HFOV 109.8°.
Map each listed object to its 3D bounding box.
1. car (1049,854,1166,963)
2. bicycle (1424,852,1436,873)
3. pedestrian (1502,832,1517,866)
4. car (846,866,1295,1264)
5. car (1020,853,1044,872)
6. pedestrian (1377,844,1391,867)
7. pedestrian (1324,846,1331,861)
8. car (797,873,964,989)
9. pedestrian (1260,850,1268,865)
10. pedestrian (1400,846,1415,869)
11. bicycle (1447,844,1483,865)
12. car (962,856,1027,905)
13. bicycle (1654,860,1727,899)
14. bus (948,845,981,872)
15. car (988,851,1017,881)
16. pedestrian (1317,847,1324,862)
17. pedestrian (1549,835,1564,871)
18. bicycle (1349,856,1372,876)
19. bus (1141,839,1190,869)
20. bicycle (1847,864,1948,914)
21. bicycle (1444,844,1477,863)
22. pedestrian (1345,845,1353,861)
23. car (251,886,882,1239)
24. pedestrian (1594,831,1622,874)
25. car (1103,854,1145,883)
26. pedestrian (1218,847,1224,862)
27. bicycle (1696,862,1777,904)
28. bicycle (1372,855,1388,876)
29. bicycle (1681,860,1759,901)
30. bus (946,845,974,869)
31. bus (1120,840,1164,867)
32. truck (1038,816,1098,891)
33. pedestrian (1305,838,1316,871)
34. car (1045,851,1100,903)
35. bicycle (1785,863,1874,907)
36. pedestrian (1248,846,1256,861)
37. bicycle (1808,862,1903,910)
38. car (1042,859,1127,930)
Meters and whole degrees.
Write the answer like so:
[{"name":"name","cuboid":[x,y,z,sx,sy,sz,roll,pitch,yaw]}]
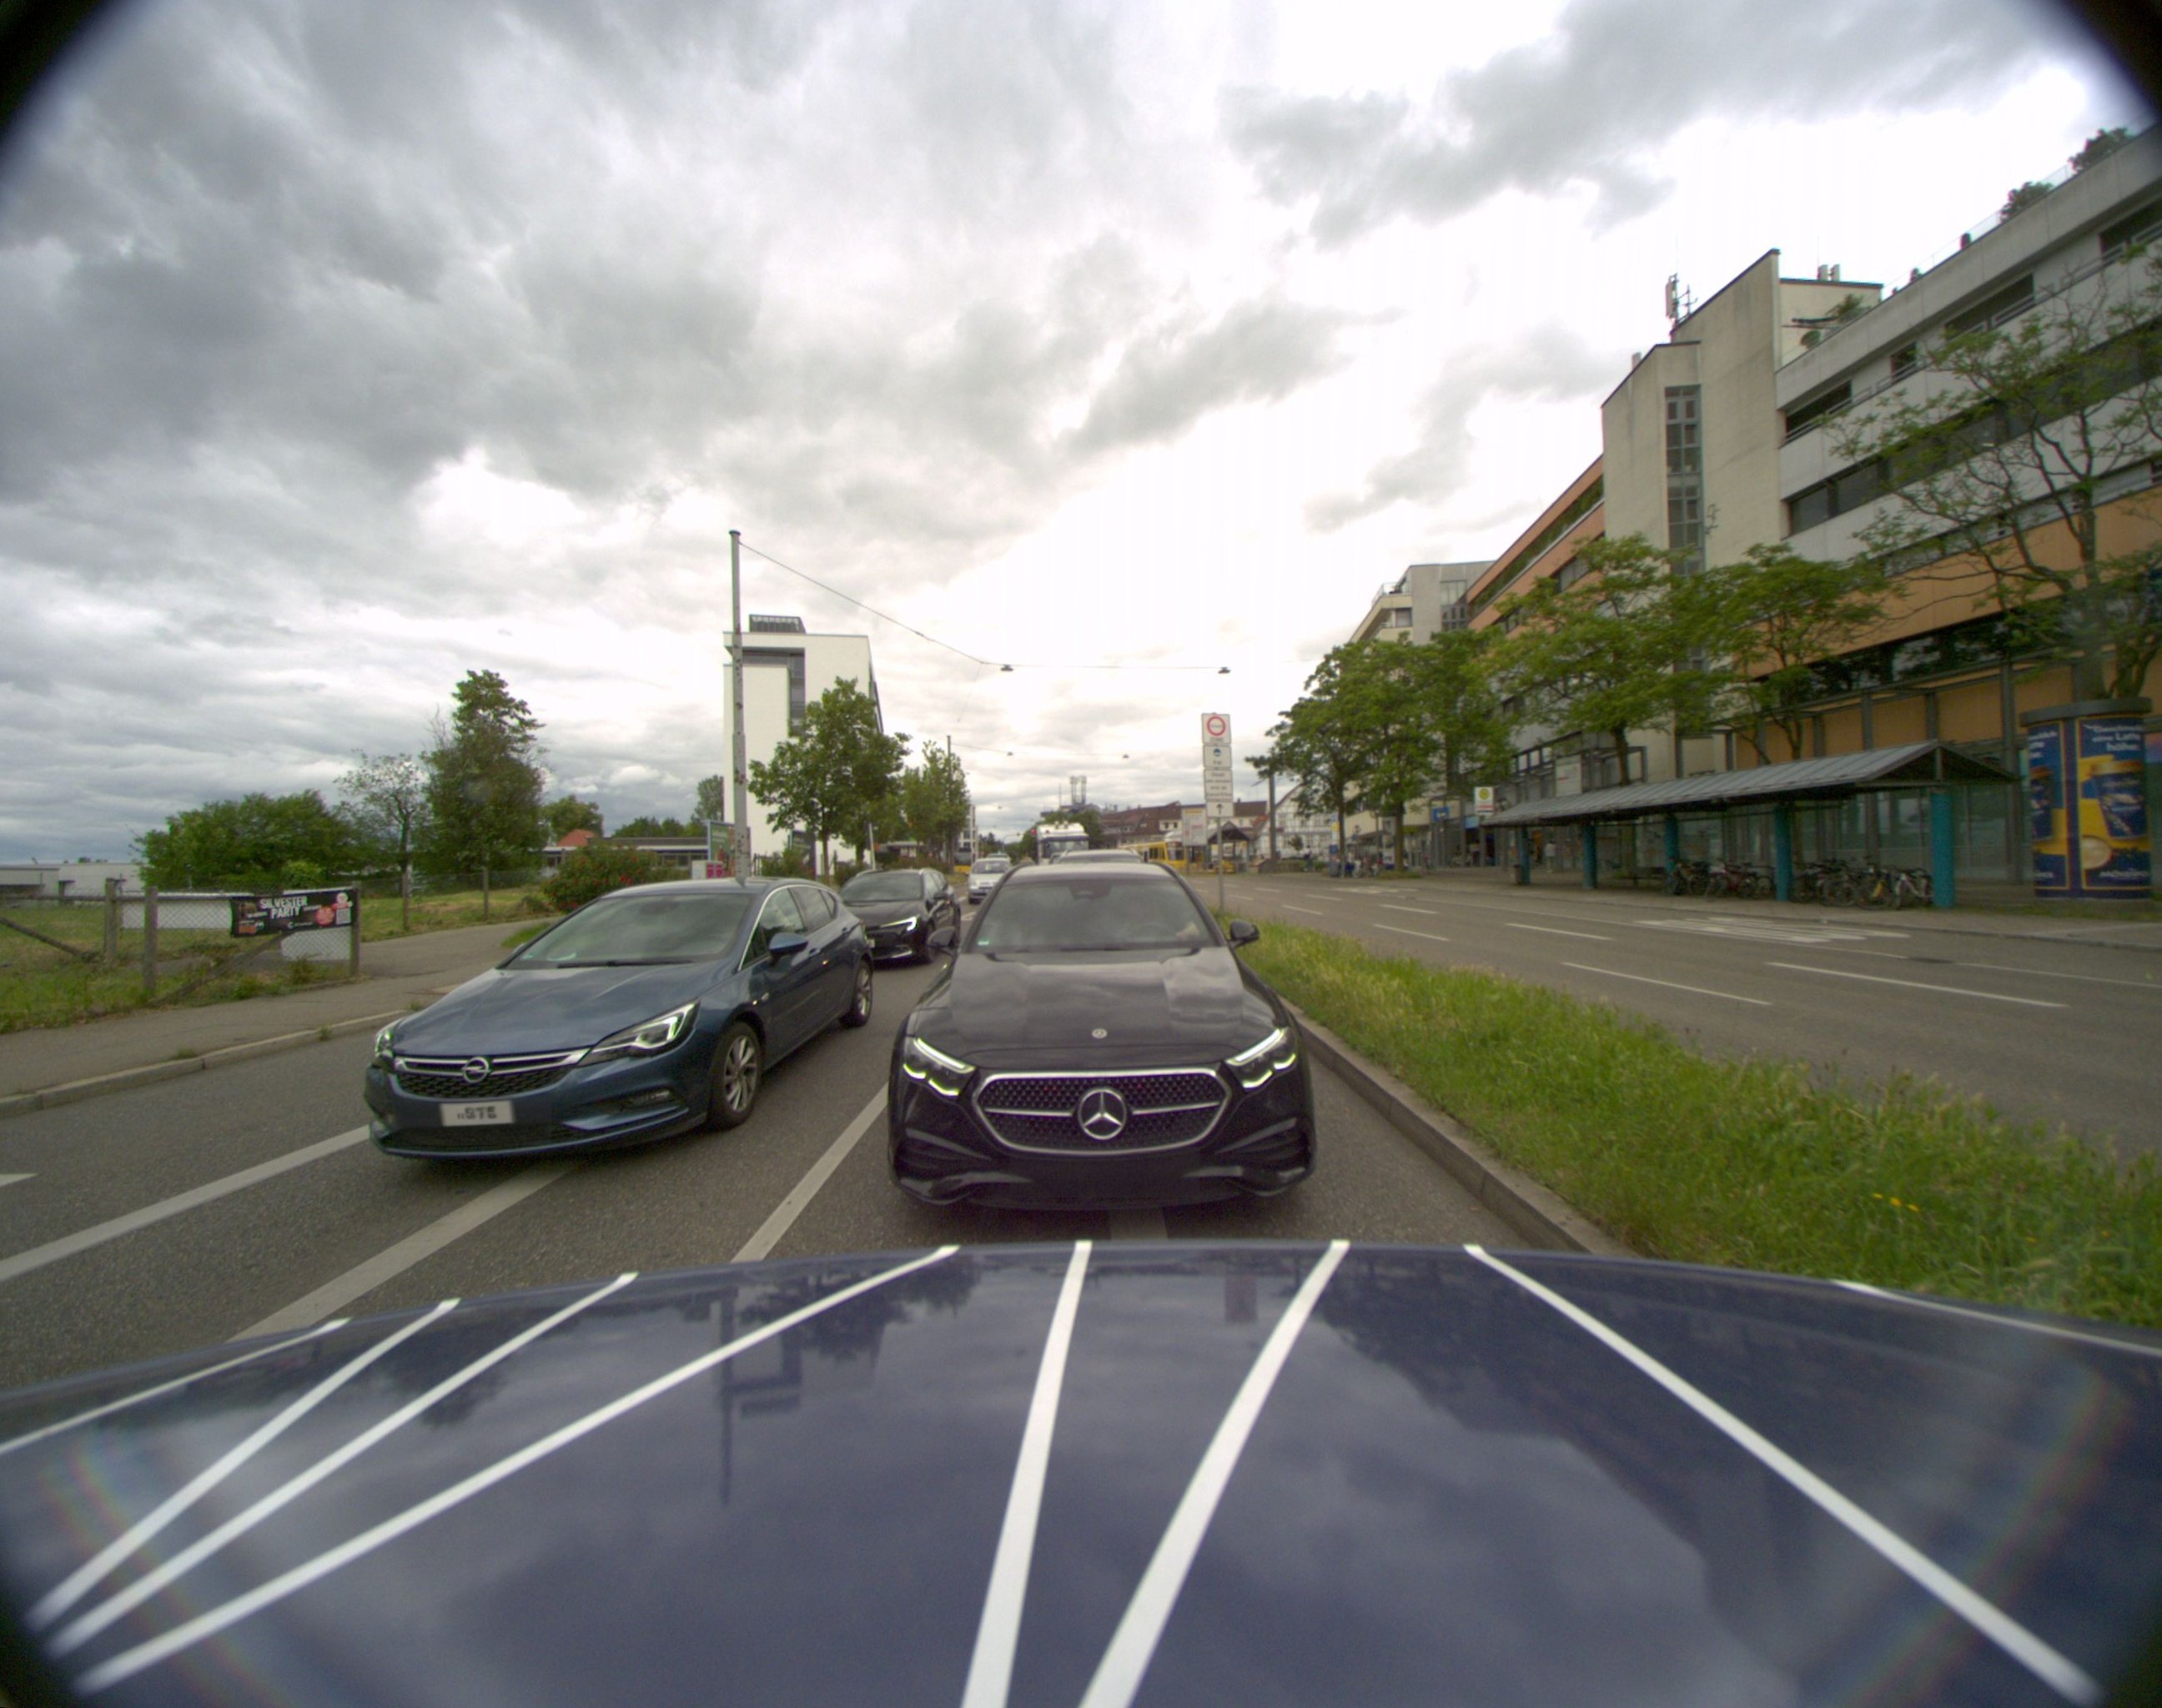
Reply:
[{"name":"car","cuboid":[0.393,0.823,13.489,1.734,1.601,4.000,-2,0,0]},{"name":"bicycle","cuboid":[19.486,0.473,42.393,0.593,1.119,2.040,0,1,24]},{"name":"pedestrian","cuboid":[25.333,-0.307,44.941,0.566,2.002,0.611,-1,1,6]},{"name":"car","cuboid":[-0.052,0.887,5.197,1.793,1.507,4.249,-1,0,0]},{"name":"car","cuboid":[-4.772,0.831,73.807,2.000,1.674,3.997,-4,1,-8]},{"name":"pedestrian","cuboid":[24.637,0.116,61.781,0.765,1.835,0.752,-1,1,1]},{"name":"pedestrian","cuboid":[24.329,-0.032,74.938,0.555,1.485,0.454,-1,1,8]},{"name":"car","cuboid":[-3.083,1.119,12.502,1.665,1.448,3.921,-2,0,0]},{"name":"pedestrian","cuboid":[19.251,0.371,80.016,0.577,1.533,0.583,-1,1,-8]},{"name":"pedestrian","cuboid":[24.686,0.252,57.418,0.765,1.673,0.752,-1,1,1]},{"name":"bicycle","cuboid":[26.992,0.035,53.408,2.139,1.367,0.620,-2,1,18]},{"name":"car","cuboid":[-3.121,0.920,28.152,1.851,1.606,3.783,-3,0,0]},{"name":"bicycle","cuboid":[18.205,0.752,22.711,1.735,1.035,0.549,-3,1,-2]},{"name":"bus","cuboid":[-12.819,0.395,82.733,2.969,2.616,12.137,-2,1,-11]},{"name":"car","cuboid":[-5.405,0.789,52.784,1.852,1.875,4.134,-3,0,-5]},{"name":"pedestrian","cuboid":[23.668,0.025,75.112,0.555,1.485,0.454,-1,1,8]},{"name":"pedestrian","cuboid":[24.098,-0.044,38.497,0.648,1.799,0.761,0,1,34]},{"name":"bicycle","cuboid":[15.478,0.659,42.025,0.593,1.071,2.041,0,1,38]},{"name":"bus","cuboid":[8.696,0.009,79.022,2.556,2.966,8.498,-1,0,-11]},{"name":"bicycle","cuboid":[18.685,0.788,17.406,1.735,1.035,0.549,-2,1,-2]},{"name":"bicycle","cuboid":[27.755,-0.022,55.560,2.138,1.358,0.620,-2,1,26]},{"name":"pedestrian","cuboid":[19.398,-0.063,55.000,0.341,1.172,0.369,-1,1,-9]},{"name":"car","cuboid":[-2.912,1.052,5.534,1.826,1.402,4.000,-2,0,0]},{"name":"pedestrian","cuboid":[25.251,-0.080,36.388,0.710,2.002,0.794,-2,1,-7]},{"name":"car","cuboid":[2.468,0.867,44.931,1.714,1.472,4.287,-5,-1,-6]},{"name":"pedestrian","cuboid":[19.826,0.080,107.554,0.742,2.002,0.939,-1,1,11]},{"name":"bicycle","cuboid":[17.948,0.793,20.818,1.735,1.035,0.549,-3,1,-2]},{"name":"bicycle","cuboid":[16.401,0.626,41.653,0.593,1.071,2.041,0,1,29]},{"name":"bicycle","cuboid":[18.284,0.747,21.750,1.735,1.035,0.549,-4,1,-2]},{"name":"bus","cuboid":[-15.226,0.350,95.056,2.969,2.616,12.911,-2,1,-11]},{"name":"bus","cuboid":[6.931,-0.077,87.958,2.556,2.966,9.790,-1,0,-11]},{"name":"truck","cuboid":[-0.767,-0.039,36.731,2.490,3.258,7.428,-1,0,-4]},{"name":"pedestrian","cuboid":[16.174,0.038,53.577,0.590,2.294,0.608,-1,1,-2]},{"name":"car","cuboid":[-0.366,0.776,28.352,1.865,1.773,3.999,-1,0,-2]},{"name":"bicycle","cuboid":[19.025,0.778,19.316,1.735,1.035,0.549,-2,1,-2]},{"name":"pedestrian","cuboid":[22.349,-0.075,99.046,0.879,2.002,1.010,-1,1,6]},{"name":"bicycle","cuboid":[18.626,0.755,18.291,1.735,1.035,0.549,-3,1,-2]},{"name":"car","cuboid":[0.045,0.914,18.916,1.865,1.520,3.999,-1,0,-1]}]
